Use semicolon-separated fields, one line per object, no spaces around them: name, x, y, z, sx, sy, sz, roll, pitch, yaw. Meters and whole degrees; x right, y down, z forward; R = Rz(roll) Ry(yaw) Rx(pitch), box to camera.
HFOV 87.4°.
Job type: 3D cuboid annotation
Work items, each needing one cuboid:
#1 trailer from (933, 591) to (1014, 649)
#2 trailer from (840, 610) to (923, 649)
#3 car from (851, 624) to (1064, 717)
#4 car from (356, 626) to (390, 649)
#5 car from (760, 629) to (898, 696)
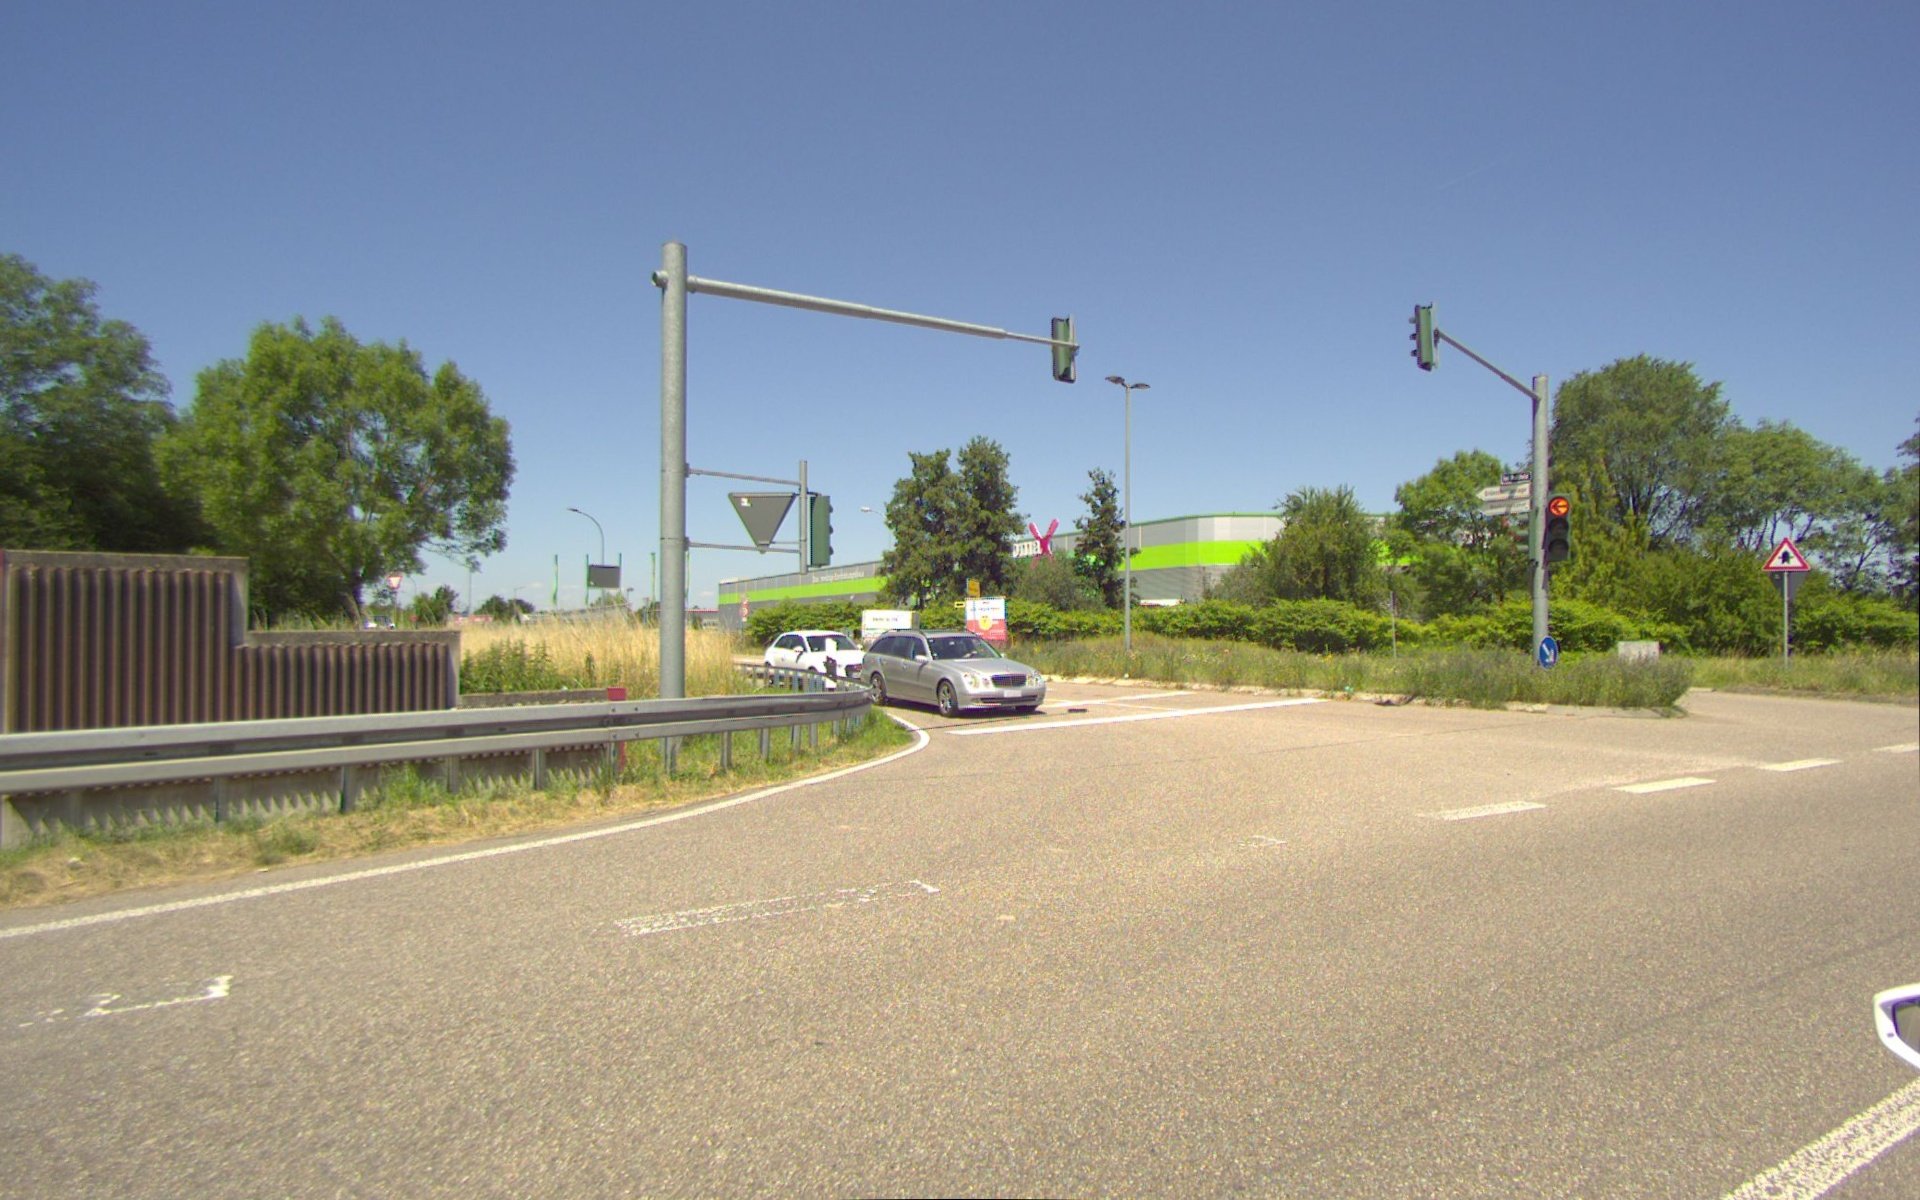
trailer;0.696;1.004;50.076;3.682;2.801;1.828;0;-1;14
trailer;-3.855;1.444;49.566;3.682;1.815;1.828;0;-1;15
car;-0.231;1.218;18.947;1.855;1.476;4.932;1;-1;-29
car;-45.391;2.878;77.665;1.755;1.646;4.189;0;-1;-38
car;-3.252;1.439;24.392;1.753;1.417;3.926;0;-1;-34
